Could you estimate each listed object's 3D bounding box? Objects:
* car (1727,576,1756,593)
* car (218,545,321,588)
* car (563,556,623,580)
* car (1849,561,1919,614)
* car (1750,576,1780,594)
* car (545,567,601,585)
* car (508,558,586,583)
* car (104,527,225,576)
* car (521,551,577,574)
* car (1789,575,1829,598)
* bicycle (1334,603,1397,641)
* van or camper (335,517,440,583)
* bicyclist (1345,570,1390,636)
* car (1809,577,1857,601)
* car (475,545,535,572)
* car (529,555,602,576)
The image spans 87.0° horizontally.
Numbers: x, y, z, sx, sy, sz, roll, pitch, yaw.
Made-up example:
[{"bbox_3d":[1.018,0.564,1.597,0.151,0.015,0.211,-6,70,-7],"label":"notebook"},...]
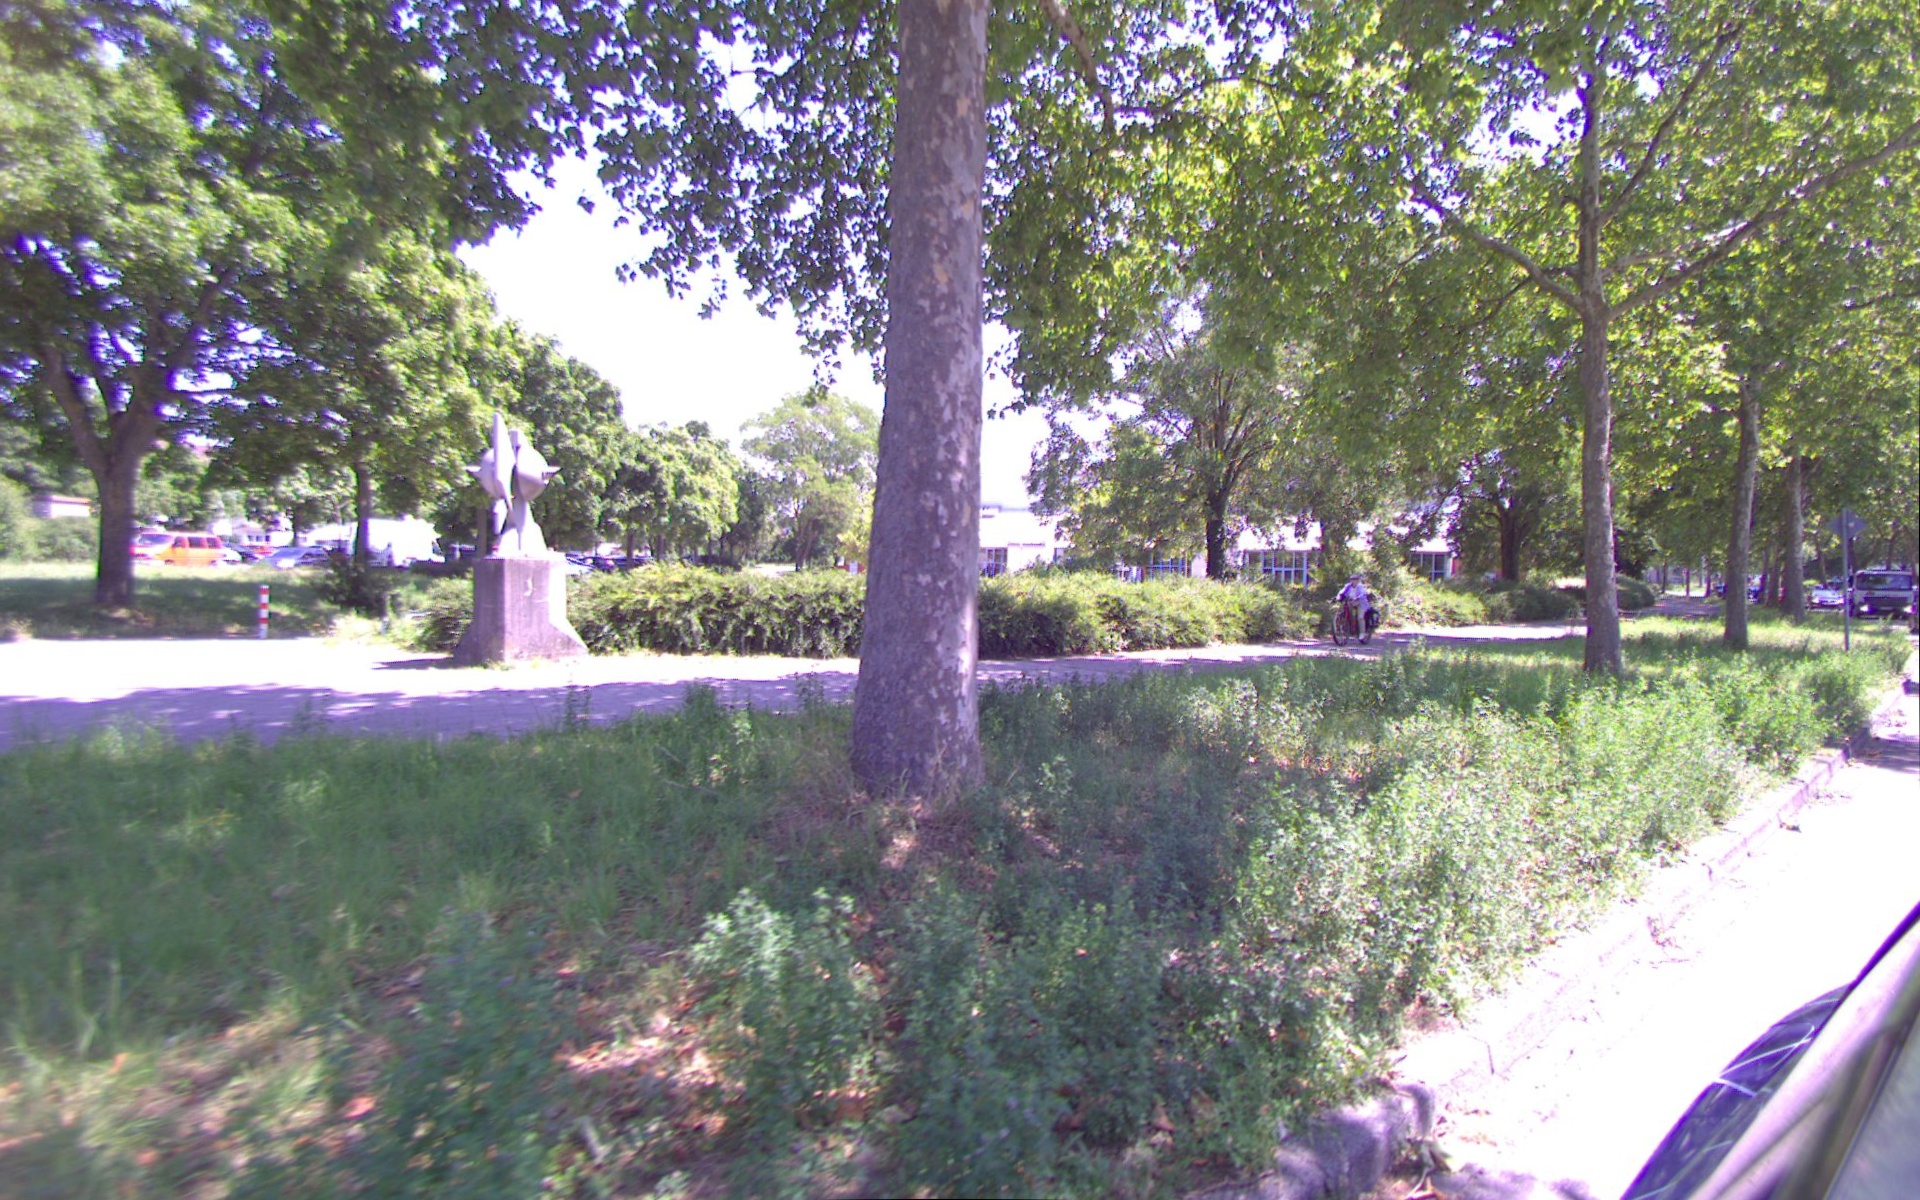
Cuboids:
[{"bbox_3d":[92.507,-1.875,119.871,1.982,1.860,3.961,2,2,28],"label":"car"},{"bbox_3d":[-29.941,-1.459,44.034,1.917,1.739,4.075,1,2,-4],"label":"car"},{"bbox_3d":[-23.171,-2.031,63.974,3.356,1.382,1.721,1,2,-11],"label":"car"},{"bbox_3d":[50.499,-0.708,54.765,2.903,2.687,6.284,2,2,36],"label":"car"},{"bbox_3d":[86.180,-1.635,108.417,1.985,1.860,3.955,2,2,32],"label":"car"},{"bbox_3d":[-19.627,-1.201,51.380,2.546,0.852,0.955,1,2,-11],"label":"car"},{"bbox_3d":[-21.375,-1.524,52.511,3.500,1.240,1.623,1,2,-11],"label":"car"},{"bbox_3d":[-35.576,-2.151,45.448,2.033,2.027,4.669,1,2,-5],"label":"car"},{"bbox_3d":[-21.366,-1.937,52.701,2.546,1.141,1.009,1,1,-11],"label":"car"},{"bbox_3d":[71.908,-1.173,85.793,1.985,1.860,3.954,2,2,32],"label":"car"},{"bbox_3d":[8.633,0.455,21.527,1.637,0.773,0.465,0,2,-37],"label":"bicycle"},{"bbox_3d":[-26.010,-2.260,46.206,2.160,2.785,5.135,1,2,-3],"label":"van or camper"},{"bbox_3d":[8.679,0.059,21.549,0.654,1.355,0.601,0,1,-37],"label":"bicyclist"},{"bbox_3d":[62.709,-0.790,72.732,1.985,1.638,3.954,2,2,32],"label":"car"},{"bbox_3d":[-36.220,-3.307,80.644,3.918,2.038,1.971,1,2,-9],"label":"car"},{"bbox_3d":[-21.478,-1.882,55.202,3.492,1.047,1.685,1,2,-11],"label":"car"}]
